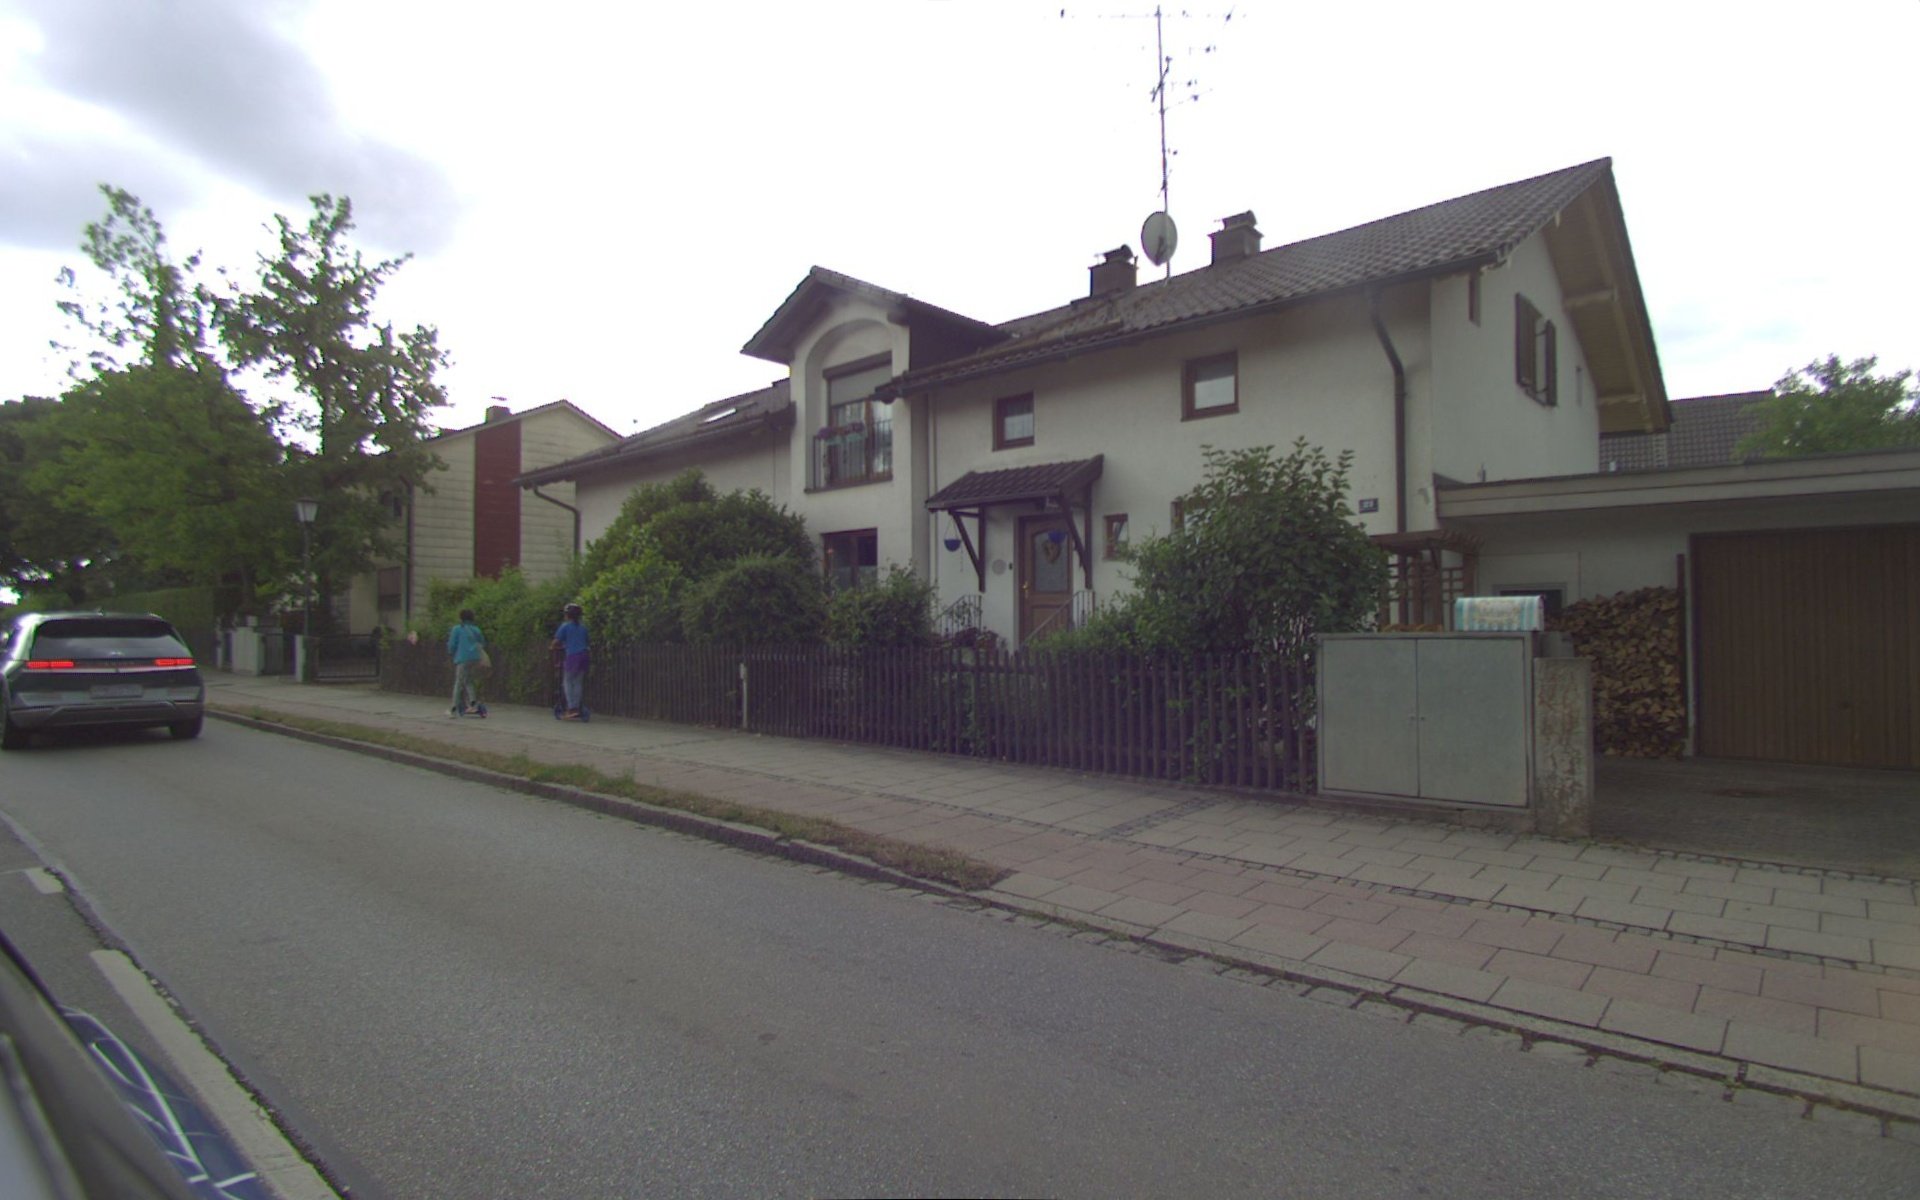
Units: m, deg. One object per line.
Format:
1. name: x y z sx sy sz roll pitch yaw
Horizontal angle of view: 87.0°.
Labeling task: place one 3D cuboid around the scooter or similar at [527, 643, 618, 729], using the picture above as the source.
1. scooter or similar: -5.093 1.099 13.292 1.178 1.045 0.654 -2 -2 42

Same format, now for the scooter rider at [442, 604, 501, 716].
1. scooter rider: -6.725 0.808 13.927 0.716 1.501 0.497 -2 -2 41

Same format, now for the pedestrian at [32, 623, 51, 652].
1. pedestrian: -47.019 1.902 51.812 0.563 1.448 0.623 -2 -2 41

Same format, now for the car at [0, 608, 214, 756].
1. car: -11.368 0.935 13.043 4.309 1.587 1.910 -1 -2 41

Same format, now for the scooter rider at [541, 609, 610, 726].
1. scooter rider: -5.033 0.859 13.249 0.580 1.484 0.655 -2 -2 41

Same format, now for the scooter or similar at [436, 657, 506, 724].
1. scooter or similar: -6.744 1.228 13.940 1.061 0.856 0.516 -2 -1 42
